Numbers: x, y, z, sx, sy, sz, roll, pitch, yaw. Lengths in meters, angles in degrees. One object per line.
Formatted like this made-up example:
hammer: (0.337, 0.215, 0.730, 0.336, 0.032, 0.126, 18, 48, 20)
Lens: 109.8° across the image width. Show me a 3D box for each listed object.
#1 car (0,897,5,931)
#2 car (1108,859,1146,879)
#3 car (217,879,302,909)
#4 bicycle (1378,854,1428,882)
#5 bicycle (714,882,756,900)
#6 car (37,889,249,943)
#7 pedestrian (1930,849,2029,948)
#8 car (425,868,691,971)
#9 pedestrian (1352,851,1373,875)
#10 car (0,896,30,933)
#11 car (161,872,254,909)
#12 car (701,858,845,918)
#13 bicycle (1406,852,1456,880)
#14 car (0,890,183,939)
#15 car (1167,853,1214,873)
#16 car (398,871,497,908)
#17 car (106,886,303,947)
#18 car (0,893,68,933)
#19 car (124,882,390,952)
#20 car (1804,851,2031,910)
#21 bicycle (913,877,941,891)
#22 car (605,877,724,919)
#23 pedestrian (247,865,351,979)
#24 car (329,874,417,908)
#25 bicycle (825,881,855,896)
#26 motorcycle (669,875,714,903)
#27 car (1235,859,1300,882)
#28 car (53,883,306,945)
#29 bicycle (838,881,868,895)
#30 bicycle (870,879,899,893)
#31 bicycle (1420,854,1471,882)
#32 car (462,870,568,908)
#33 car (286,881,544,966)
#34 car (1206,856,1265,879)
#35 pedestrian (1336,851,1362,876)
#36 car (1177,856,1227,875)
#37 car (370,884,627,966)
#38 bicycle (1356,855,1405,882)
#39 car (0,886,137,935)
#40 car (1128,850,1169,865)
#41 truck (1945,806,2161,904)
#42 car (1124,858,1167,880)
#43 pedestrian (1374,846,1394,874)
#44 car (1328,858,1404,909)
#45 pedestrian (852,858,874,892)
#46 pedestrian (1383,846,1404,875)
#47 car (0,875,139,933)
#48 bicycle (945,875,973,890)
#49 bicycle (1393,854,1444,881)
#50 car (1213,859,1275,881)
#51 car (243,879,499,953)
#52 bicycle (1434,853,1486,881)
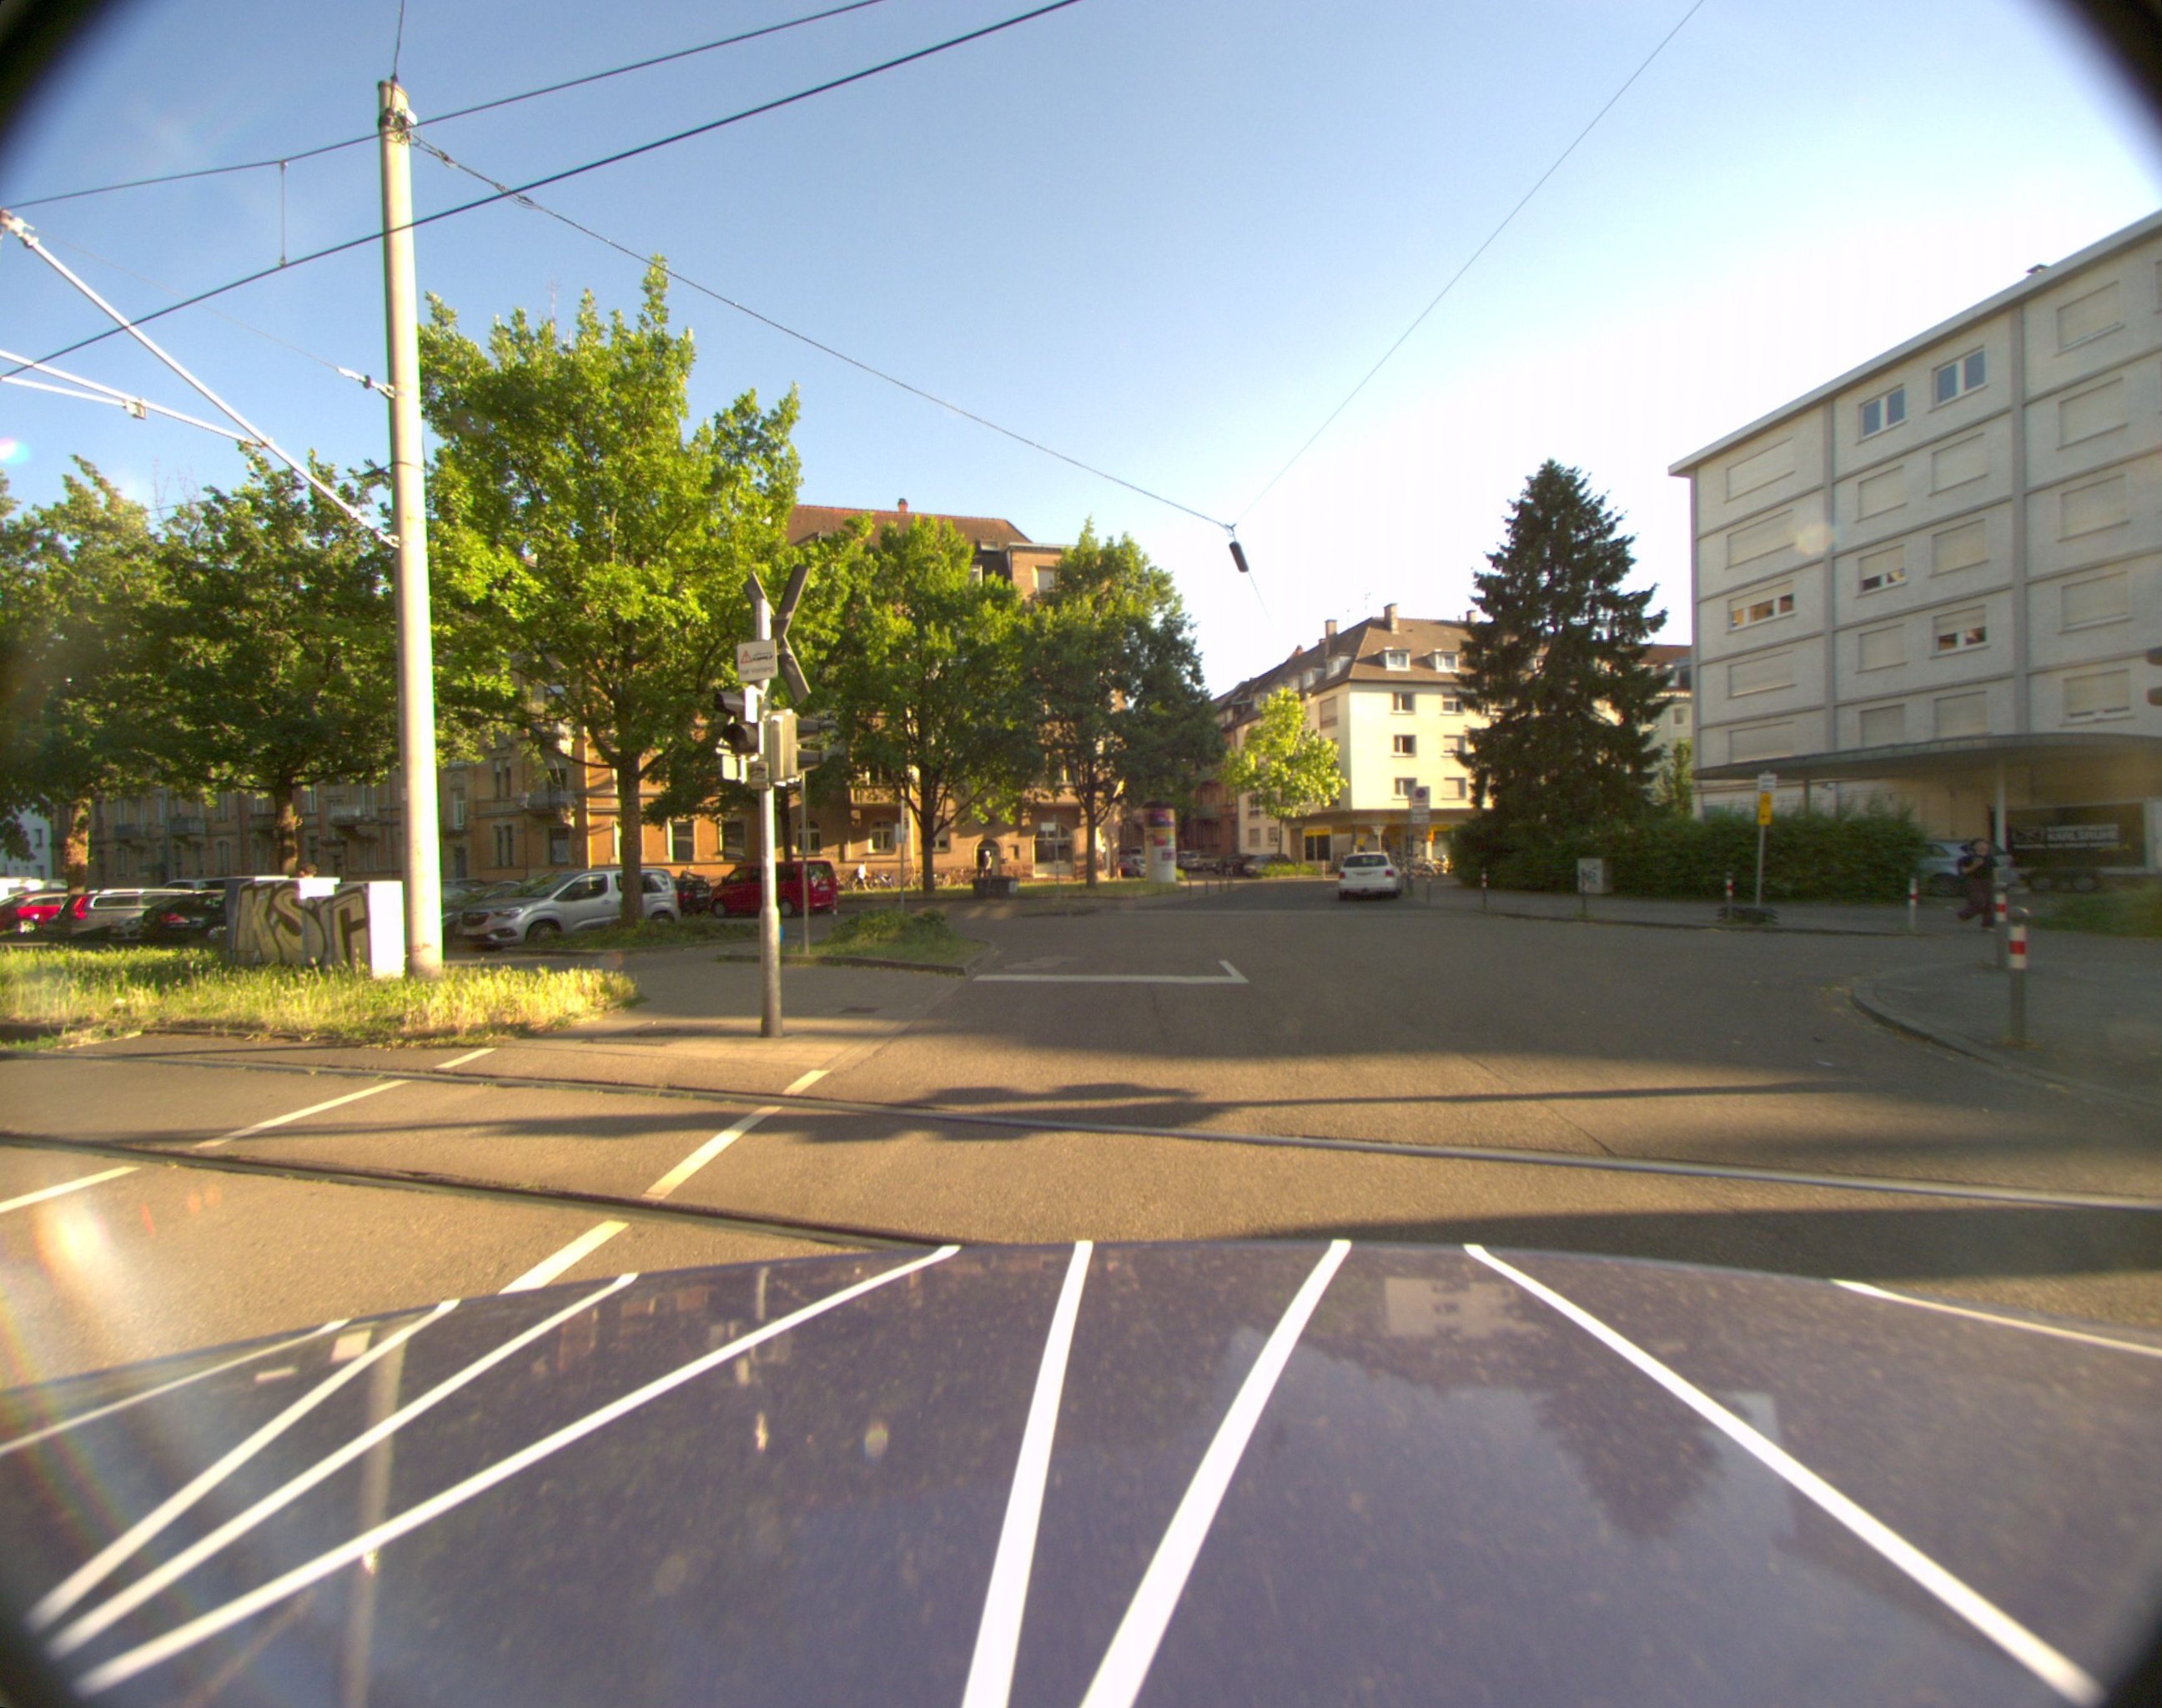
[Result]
car: (-48.557, 2.642, 31.662, 1.680, 1.479, 4.007, -2, -1, 23)
car: (3.405, 1.085, 56.572, 1.874, 1.391, 3.997, -1, 0, -10)
car: (-43.968, 2.149, 40.676, 3.879, 1.430, 1.771, -2, 2, 22)
bicycle: (17.872, 0.764, 42.266, 0.881, 1.437, 3.377, -1, 1, -9)
bicycle: (-18.267, 1.942, 40.129, 1.899, 0.843, 0.525, -2, 0, -13)
car: (-30.363, 1.946, 24.762, 1.680, 1.452, 4.007, -2, -1, 23)
pedestrian: (16.345, 0.784, 13.847, 0.869, 1.726, 0.832, -1, 1, 21)
car: (-11.538, 1.312, 17.181, 1.945, 1.903, 4.561, -1, 0, 25)
pedestrian: (18.846, 0.616, 50.813, 0.964, 1.560, 0.890, -1, 0, -11)
car: (-46.131, 2.549, 30.686, 1.680, 1.479, 4.007, -2, -1, 23)
car: (-48.912, 2.048, 42.548, 4.714, 1.872, 1.915, -2, 2, 22)
car: (-11.047, 1.214, 27.212, 4.761, 1.923, 1.784, -2, 2, 22)
bicycle: (19.875, 0.676, 43.257, 0.881, 1.437, 3.376, -1, 2, -9)
car: (-34.993, 2.069, 26.751, 1.680, 1.414, 4.007, -2, -1, 23)
car: (9.463, 0.768, 65.598, 4.008, 1.626, 1.868, -1, 0, -41)
car: (-29.028, 1.630, 34.826, 3.873, 1.467, 1.691, -2, 2, 20)
car: (-25.621, 1.784, 22.334, 1.715, 1.505, 3.415, -2, -1, 25)
car: (-43.695, 2.390, 30.073, 1.680, 1.544, 4.007, -2, -1, 23)
car: (-23.183, 1.674, 21.663, 1.995, 1.563, 4.724, -1, 0, 25)
car: (24.161, 0.712, 22.193, 2.000, 1.523, 3.997, -1, 0, -8)
bicycle: (-8.599, 1.660, 42.358, 1.511, 0.728, 0.368, -1, 0, -14)
car: (-16.118, 1.679, 29.404, 4.260, 1.426, 1.784, -2, 2, 24)
pedestrian: (-13.654, 1.153, 13.278, 1.147, 1.907, 0.907, -1, -1, 23)
car: (-34.392, 1.803, 36.927, 3.700, 1.467, 1.691, -2, 2, 23)
bicycle: (-13.006, 1.847, 41.100, 1.511, 0.728, 0.368, -1, 0, -14)
motorcycle: (-20.206, 1.783, 39.492, 1.899, 1.345, 0.809, -2, 0, -13)
car: (12.561, 1.108, 51.094, 4.006, 1.391, 1.869, -1, 0, -29)
car: (-28.001, 1.776, 23.840, 1.995, 1.563, 4.724, -1, 0, 25)
bicycle: (-12.258, 1.825, 40.880, 1.511, 0.728, 0.368, -1, 0, -14)
bicycle: (-10.769, 1.739, 41.626, 1.511, 0.728, 0.368, -1, 0, -14)
bicycle: (20.810, 0.763, 43.491, 0.881, 1.437, 3.376, -1, 2, -9)
car: (-24.540, 1.520, 32.949, 4.260, 1.467, 1.784, -2, 2, 24)
car: (-16.334, 1.612, 18.988, 1.946, 1.681, 4.456, -1, 0, 17)
car: (11.535, 0.981, 56.619, 4.005, 1.559, 1.870, -1, 0, -26)
pedestrian: (17.729, 0.632, 50.275, 1.215, 1.656, 0.963, -1, 0, -11)
car: (9.937, 0.946, 62.434, 4.008, 1.496, 1.868, -1, 0, -41)
car: (-13.930, 1.597, 18.531, 1.945, 1.563, 4.561, -1, 0, 25)
bicycle: (16.538, 0.768, 42.096, 0.881, 1.437, 3.377, -1, 1, -9)
car: (-37.295, 2.023, 27.201, 1.762, 1.570, 4.006, -2, -1, 20)
car: (6.824, 0.327, 76.584, 4.008, 1.391, 1.868, -1, 0, -41)
truck: (28.357, 0.029, 21.379, 2.000, 2.520, 4.967, -1, 0, -12)
car: (4.339, 1.002, 51.669, 1.874, 1.391, 3.997, -1, 0, -10)
pedestrian: (20.125, 0.402, 50.536, 0.891, 1.864, 0.851, -2, 0, -12)
car: (9.275, 0.905, 24.522, 1.919, 1.442, 4.303, -3, -1, 25)
pedestrian: (-11.151, 1.078, 38.897, 0.911, 1.708, 0.675, -3, 1, -3)
pedestrian: (20.419, 0.417, 49.686, 0.891, 1.864, 0.851, -2, 0, -12)
car: (-39.619, 1.873, 28.551, 2.150, 2.026, 4.869, -2, -1, 23)
bicycle: (-6.852, 1.592, 42.650, 1.511, 0.728, 0.368, -3, 1, -14)
bicycle: (18.904, 0.726, 42.682, 0.881, 1.437, 3.377, -1, 1, -9)
car: (11.440, 1.095, 53.298, 4.006, 1.391, 1.869, -1, 0, -29)
car: (-18.631, 1.533, 20.246, 1.945, 1.563, 4.561, -1, 0, 25)
bicycle: (21.670, 0.715, 43.595, 0.881, 1.437, 3.376, -1, 2, -9)
